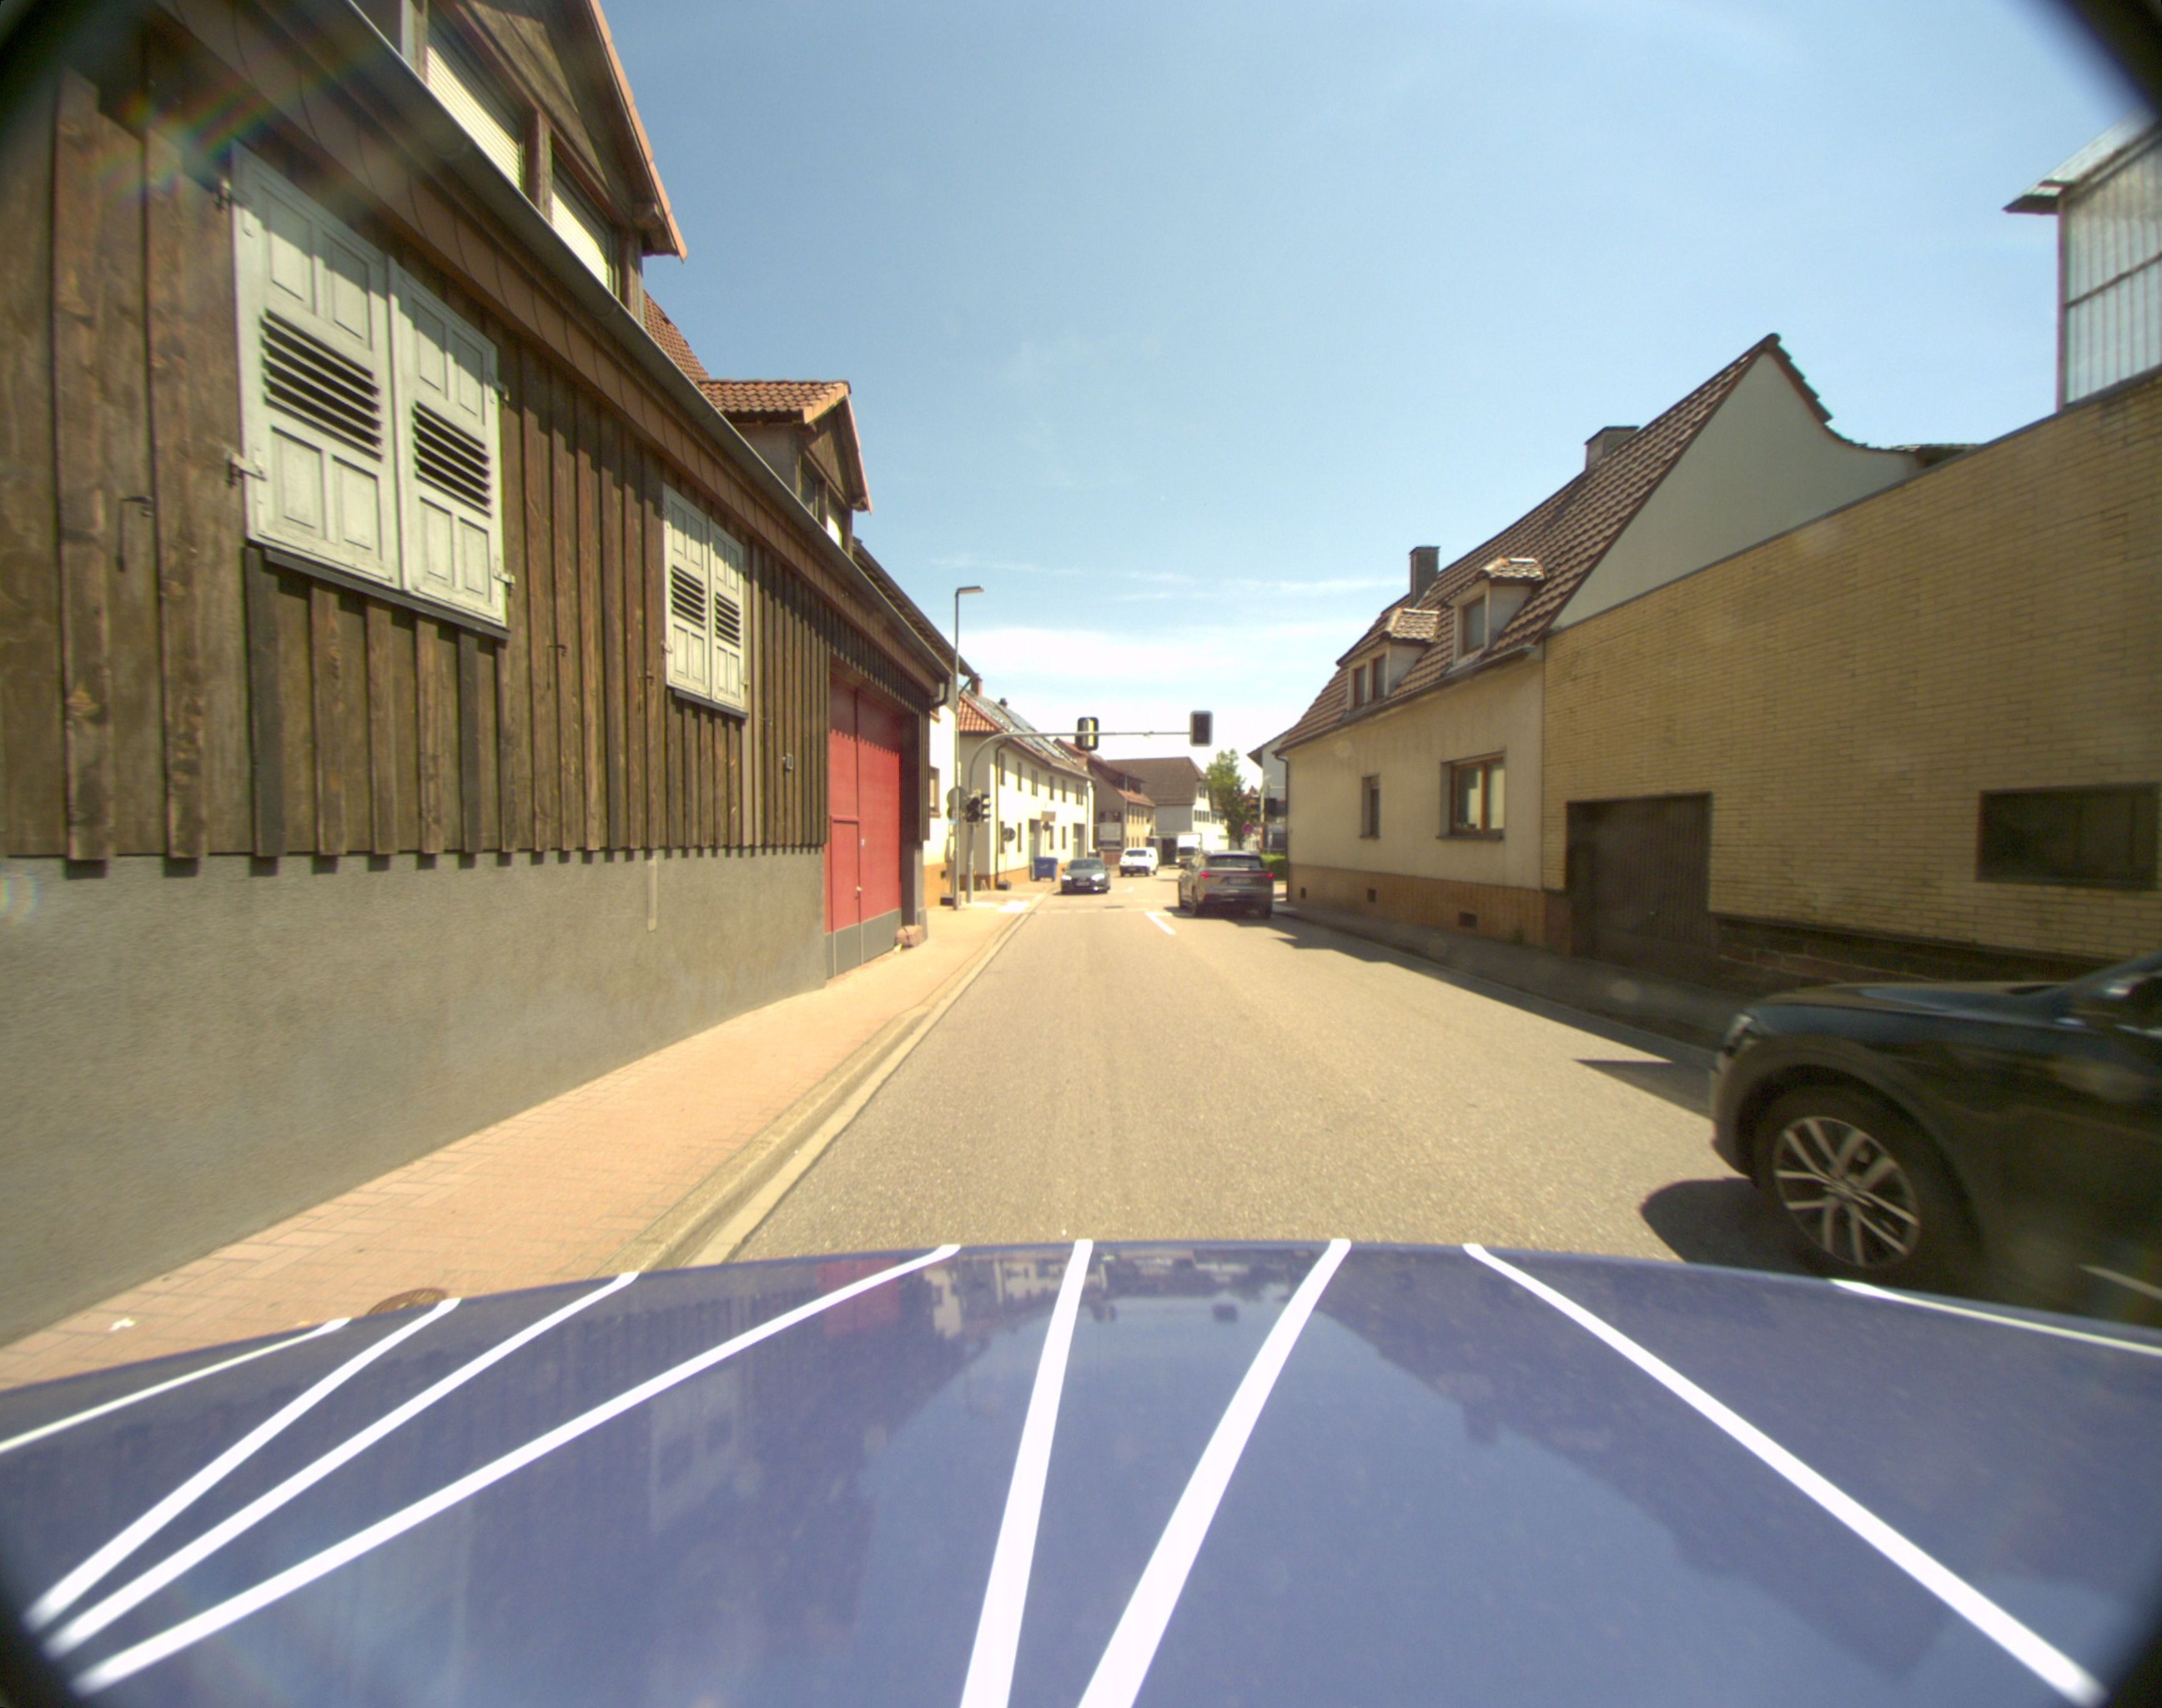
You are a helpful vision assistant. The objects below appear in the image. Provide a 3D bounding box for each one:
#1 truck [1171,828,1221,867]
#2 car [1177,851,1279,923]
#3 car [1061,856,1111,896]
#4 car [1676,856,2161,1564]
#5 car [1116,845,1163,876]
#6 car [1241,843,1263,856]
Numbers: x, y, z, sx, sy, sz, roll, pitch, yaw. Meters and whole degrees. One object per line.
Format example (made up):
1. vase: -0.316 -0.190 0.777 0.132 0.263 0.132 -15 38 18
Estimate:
1. truck: 11.379 -0.702 74.541 2.862 3.493 8.332 2 2 23
2. car: 3.616 0.750 19.481 1.834 1.612 4.260 1 1 1
3. car: 0.263 0.823 30.045 1.785 1.365 3.607 0 1 3
4. car: 3.385 0.849 0.986 1.816 1.600 4.337 1 1 1
5. car: 4.022 0.376 51.302 2.076 1.949 5.524 0 1 16
6. car: 22.441 -0.606 99.649 1.995 1.608 4.006 -1 1 23
